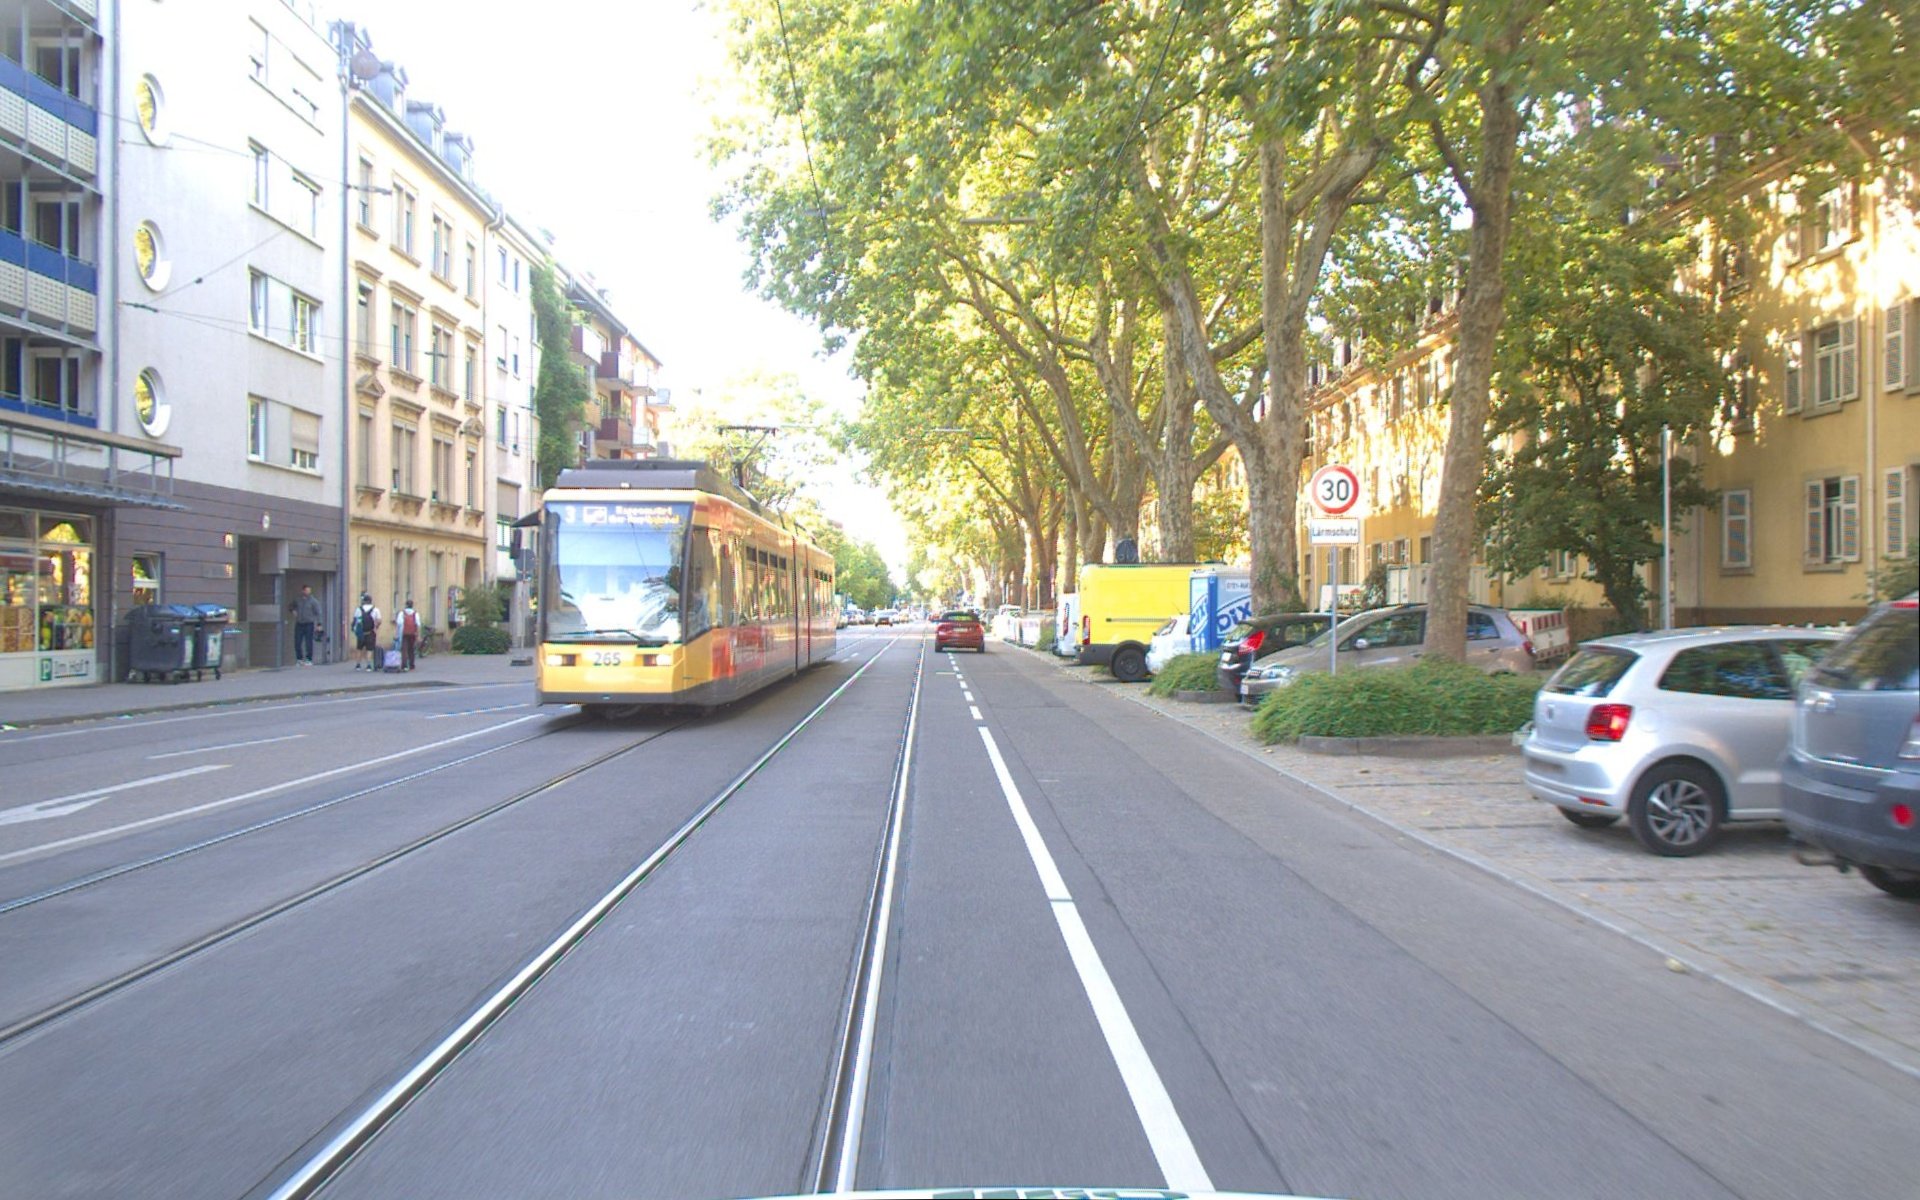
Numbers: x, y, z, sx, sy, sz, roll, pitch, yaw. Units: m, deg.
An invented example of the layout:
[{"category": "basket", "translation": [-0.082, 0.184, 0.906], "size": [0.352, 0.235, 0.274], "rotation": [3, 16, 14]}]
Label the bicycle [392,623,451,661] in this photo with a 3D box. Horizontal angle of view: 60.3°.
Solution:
[{"category": "bicycle", "translation": [-14.859, 1.144, 45.678], "size": [0.633, 0.988, 2.140], "rotation": [1, 0, 9]}]

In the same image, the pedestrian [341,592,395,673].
[{"category": "pedestrian", "translation": [-13.650, 0.744, 38.133], "size": [0.846, 1.816, 0.736], "rotation": [1, -1, 20]}]

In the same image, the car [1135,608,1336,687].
[{"category": "car", "translation": [5.595, 0.948, 33.955], "size": [3.825, 1.515, 1.863], "rotation": [-1, 0, 1]}]

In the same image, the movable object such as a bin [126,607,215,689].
[{"category": "movable object such as a bin", "translation": [-14.615, 0.868, 30.658], "size": [1.117, 1.476, 1.212], "rotation": [0, 0, -5]}]

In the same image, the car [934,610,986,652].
[{"category": "car", "translation": [-0.011, 1.080, 58.662], "size": [1.756, 1.413, 4.235], "rotation": [1, 0, -1]}]

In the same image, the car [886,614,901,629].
[{"category": "car", "translation": [-8.510, 2.776, 211.479], "size": [1.853, 1.864, 4.894], "rotation": [0, 0, -1]}]

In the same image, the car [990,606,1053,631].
[{"category": "car", "translation": [3.981, 1.219, 107.514], "size": [4.006, 1.548, 1.915], "rotation": [0, -1, -3]}]

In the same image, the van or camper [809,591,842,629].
[{"category": "van or camper", "translation": [-11.741, 0.890, 144.723], "size": [2.290, 3.094, 6.396], "rotation": [3, -1, 0]}]

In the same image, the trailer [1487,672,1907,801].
[{"category": "trailer", "translation": [6.246, 1.154, 14.262], "size": [2.976, 0.919, 1.437], "rotation": [-2, -1, 5]}]

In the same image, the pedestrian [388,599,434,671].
[{"category": "pedestrian", "translation": [-12.947, 0.832, 39.005], "size": [0.713, 1.661, 0.686], "rotation": [1, -1, 28]}]

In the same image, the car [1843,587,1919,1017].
[{"category": "car", "translation": [5.935, 0.728, 6.097], "size": [4.337, 1.686, 1.907], "rotation": [-2, -1, -3]}]

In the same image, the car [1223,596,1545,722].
[{"category": "car", "translation": [5.856, 0.801, 23.162], "size": [3.994, 1.577, 1.830], "rotation": [-2, -1, -2]}]

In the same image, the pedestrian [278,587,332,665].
[{"category": "pedestrian", "translation": [-15.816, 0.623, 39.954], "size": [0.943, 1.845, 0.729], "rotation": [2, -1, 0]}]

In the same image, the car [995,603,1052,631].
[{"category": "car", "translation": [4.312, 1.152, 111.804], "size": [3.764, 1.803, 1.917], "rotation": [0, -1, 3]}]

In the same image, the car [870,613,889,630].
[{"category": "car", "translation": [-8.273, 2.256, 170.390], "size": [1.816, 1.628, 4.462], "rotation": [2, -1, -2]}]

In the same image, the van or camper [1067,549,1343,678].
[{"category": "van or camper", "translation": [5.350, 0.316, 36.778], "size": [5.803, 2.675, 2.270], "rotation": [-1, -1, 1]}]

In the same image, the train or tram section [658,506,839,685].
[{"category": "train or tram section", "translation": [-4.762, -0.057, 40.221], "size": [2.849, 3.547, 14.194], "rotation": [0, 0, -1]}]

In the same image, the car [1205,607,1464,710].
[{"category": "car", "translation": [5.794, 0.885, 25.844], "size": [3.581, 1.451, 1.736], "rotation": [-2, 0, -5]}]

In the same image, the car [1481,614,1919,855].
[{"category": "car", "translation": [5.786, 0.879, 11.718], "size": [3.577, 1.449, 1.865], "rotation": [-2, 0, 0]}]

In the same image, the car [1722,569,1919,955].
[{"category": "car", "translation": [6.427, 0.676, 8.402], "size": [4.219, 1.762, 1.841], "rotation": [-2, -1, 2]}]

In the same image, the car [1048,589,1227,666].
[{"category": "car", "translation": [4.917, 0.748, 46.349], "size": [4.737, 2.048, 2.063], "rotation": [-1, 0, -2]}]

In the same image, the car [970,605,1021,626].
[{"category": "car", "translation": [3.162, 1.387, 146.539], "size": [4.403, 1.630, 2.028], "rotation": [-2, -1, 3]}]

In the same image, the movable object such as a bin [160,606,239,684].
[{"category": "movable object such as a bin", "translation": [-14.761, 0.864, 32.135], "size": [1.036, 1.476, 1.209], "rotation": [0, 0, -5]}]

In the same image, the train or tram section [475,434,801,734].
[{"category": "train or tram section", "translation": [-4.479, -0.162, 26.406], "size": [2.849, 3.547, 13.365], "rotation": [0, 0, -1]}]
